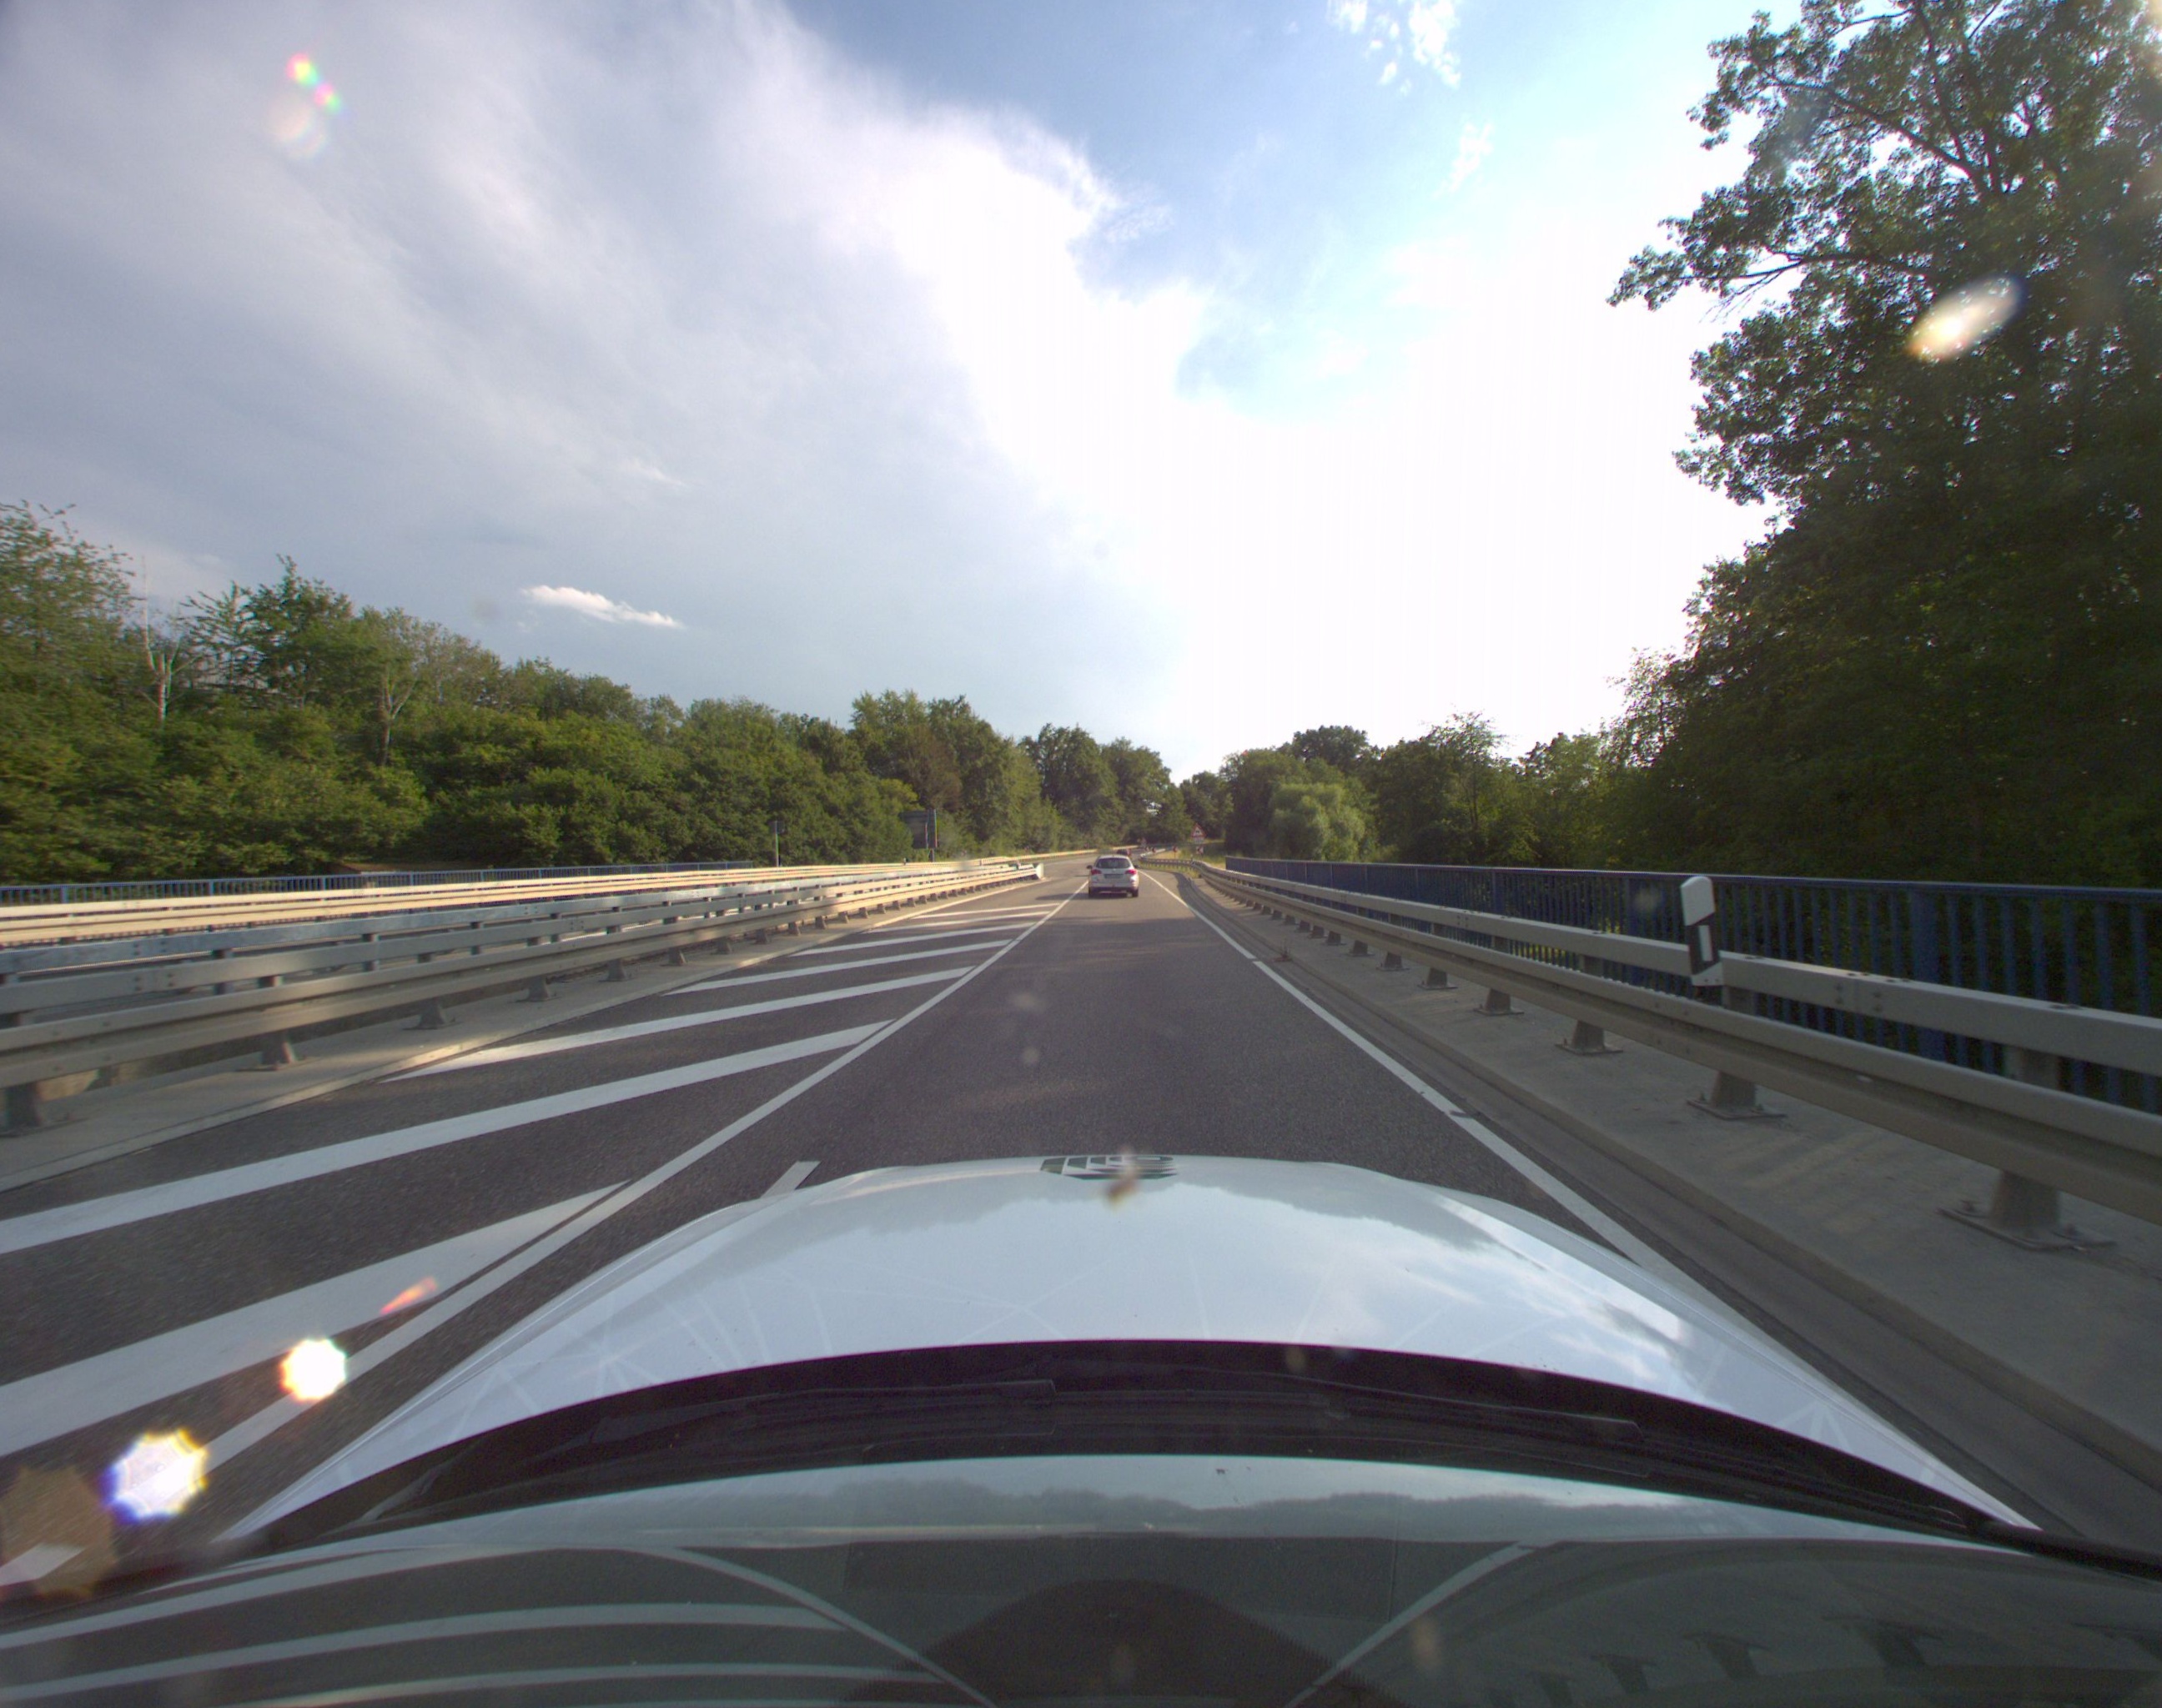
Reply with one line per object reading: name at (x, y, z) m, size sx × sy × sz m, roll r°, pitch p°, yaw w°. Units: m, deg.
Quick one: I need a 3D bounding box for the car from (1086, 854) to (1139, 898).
car at (1.115, 0.770, 29.821) m, size 1.803 × 1.486 × 4.000 m, roll -1°, pitch -1°, yaw 1°

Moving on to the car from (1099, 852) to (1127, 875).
car at (2.180, 0.668, 56.556) m, size 1.803 × 1.486 × 4.000 m, roll -1°, pitch -1°, yaw 1°
